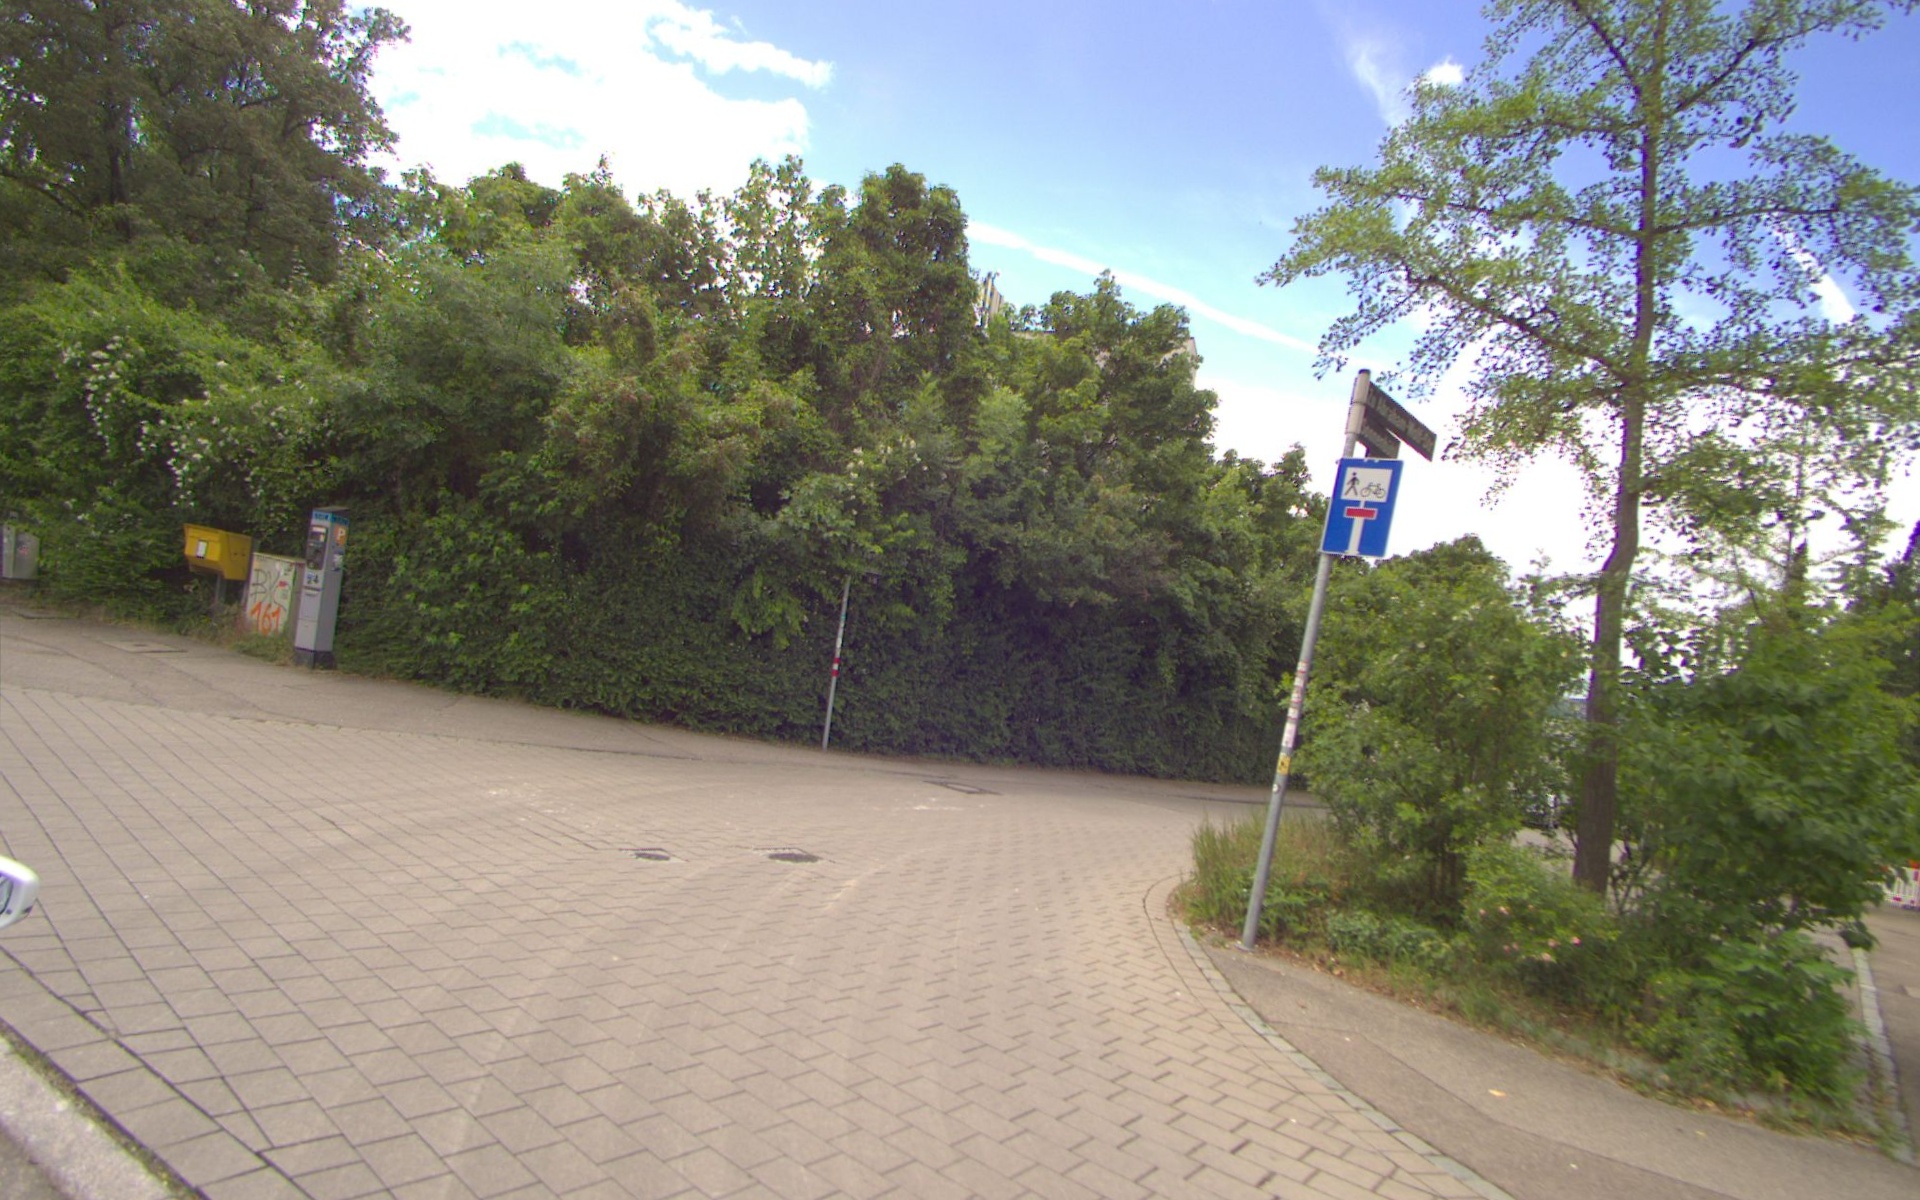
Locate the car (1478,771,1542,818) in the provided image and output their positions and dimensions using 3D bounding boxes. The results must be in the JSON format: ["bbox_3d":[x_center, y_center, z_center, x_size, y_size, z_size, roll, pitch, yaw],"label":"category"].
[{"bbox_3d":[22.636,8.010,41.337,1.647,1.544,3.757,6,-6,37],"label":"car"}]
